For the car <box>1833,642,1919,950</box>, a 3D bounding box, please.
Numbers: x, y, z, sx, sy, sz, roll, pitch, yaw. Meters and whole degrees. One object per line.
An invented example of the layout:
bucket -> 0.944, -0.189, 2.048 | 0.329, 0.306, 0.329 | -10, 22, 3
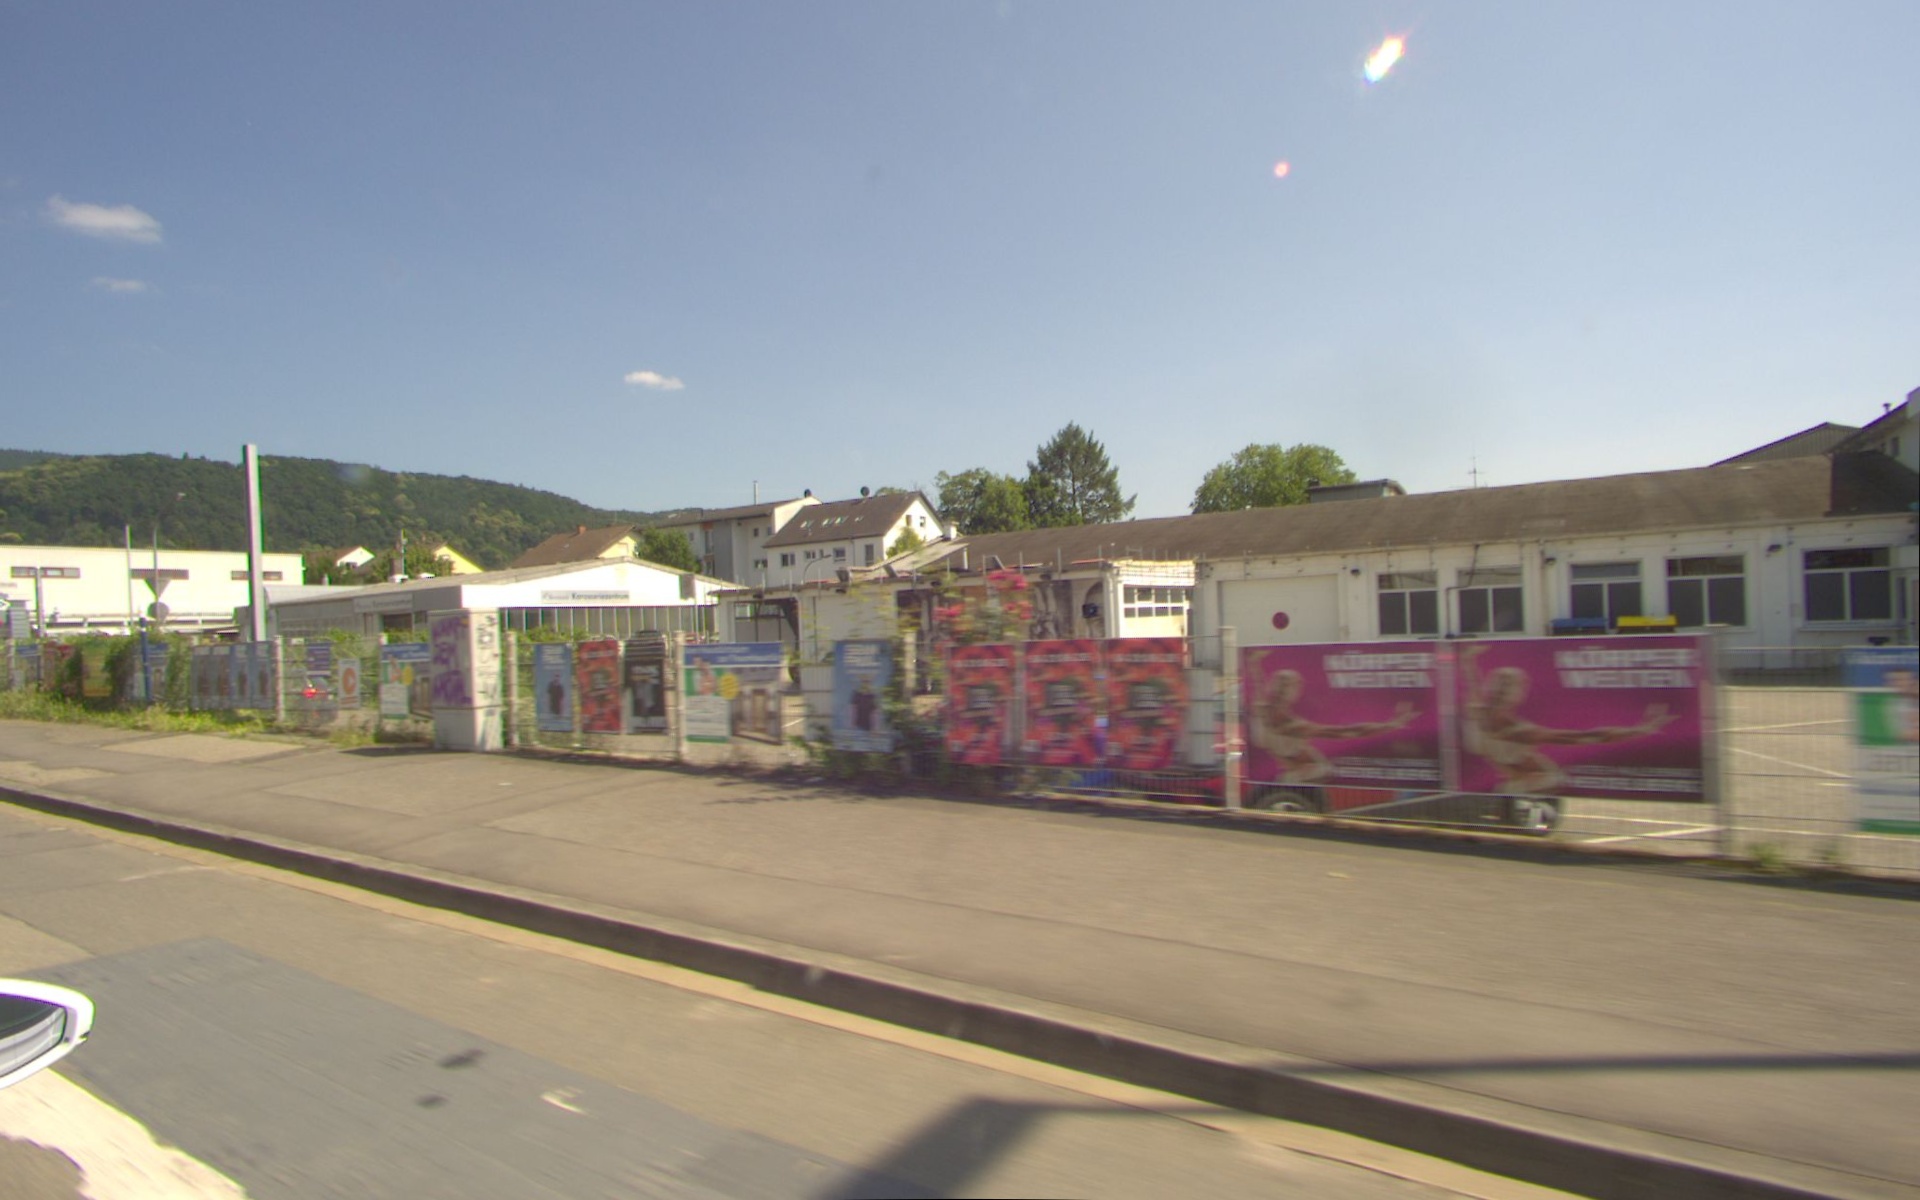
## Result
car -> 7.705, 0.957, 5.400 | 4.956, 1.639, 2.024 | 0, -6, -16

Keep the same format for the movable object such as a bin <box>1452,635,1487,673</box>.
movable object such as a bin -> 14.625, 1.541, 28.745 | 0.863, 1.049, 0.745 | -1, -1, 28

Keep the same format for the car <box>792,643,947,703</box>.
car -> -2.440, 1.967, 27.936 | 2.090, 1.416, 4.319 | -2, -2, 33

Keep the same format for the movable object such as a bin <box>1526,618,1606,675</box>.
movable object such as a bin -> 16.370, 1.234, 27.137 | 1.728, 1.474, 1.569 | -1, -1, 28

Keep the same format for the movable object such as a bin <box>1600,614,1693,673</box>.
movable object such as a bin -> 17.954, 1.120, 26.273 | 1.797, 1.474, 1.569 | -1, -1, 28

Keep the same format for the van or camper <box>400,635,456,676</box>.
van or camper -> -24.468, 2.548, 45.990 | 1.971, 1.563, 4.208 | -6, 0, -31

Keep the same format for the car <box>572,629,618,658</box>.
car -> -19.846, 2.363, 54.354 | 1.768, 1.482, 3.809 | 1, -3, -29

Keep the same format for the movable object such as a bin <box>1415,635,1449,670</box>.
movable object such as a bin -> 13.822, 1.536, 29.313 | 0.863, 1.005, 0.745 | -1, -1, 28

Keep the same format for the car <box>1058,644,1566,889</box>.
car -> 2.963, 1.252, 8.641 | 3.763, 1.637, 1.889 | 0, -1, -19
